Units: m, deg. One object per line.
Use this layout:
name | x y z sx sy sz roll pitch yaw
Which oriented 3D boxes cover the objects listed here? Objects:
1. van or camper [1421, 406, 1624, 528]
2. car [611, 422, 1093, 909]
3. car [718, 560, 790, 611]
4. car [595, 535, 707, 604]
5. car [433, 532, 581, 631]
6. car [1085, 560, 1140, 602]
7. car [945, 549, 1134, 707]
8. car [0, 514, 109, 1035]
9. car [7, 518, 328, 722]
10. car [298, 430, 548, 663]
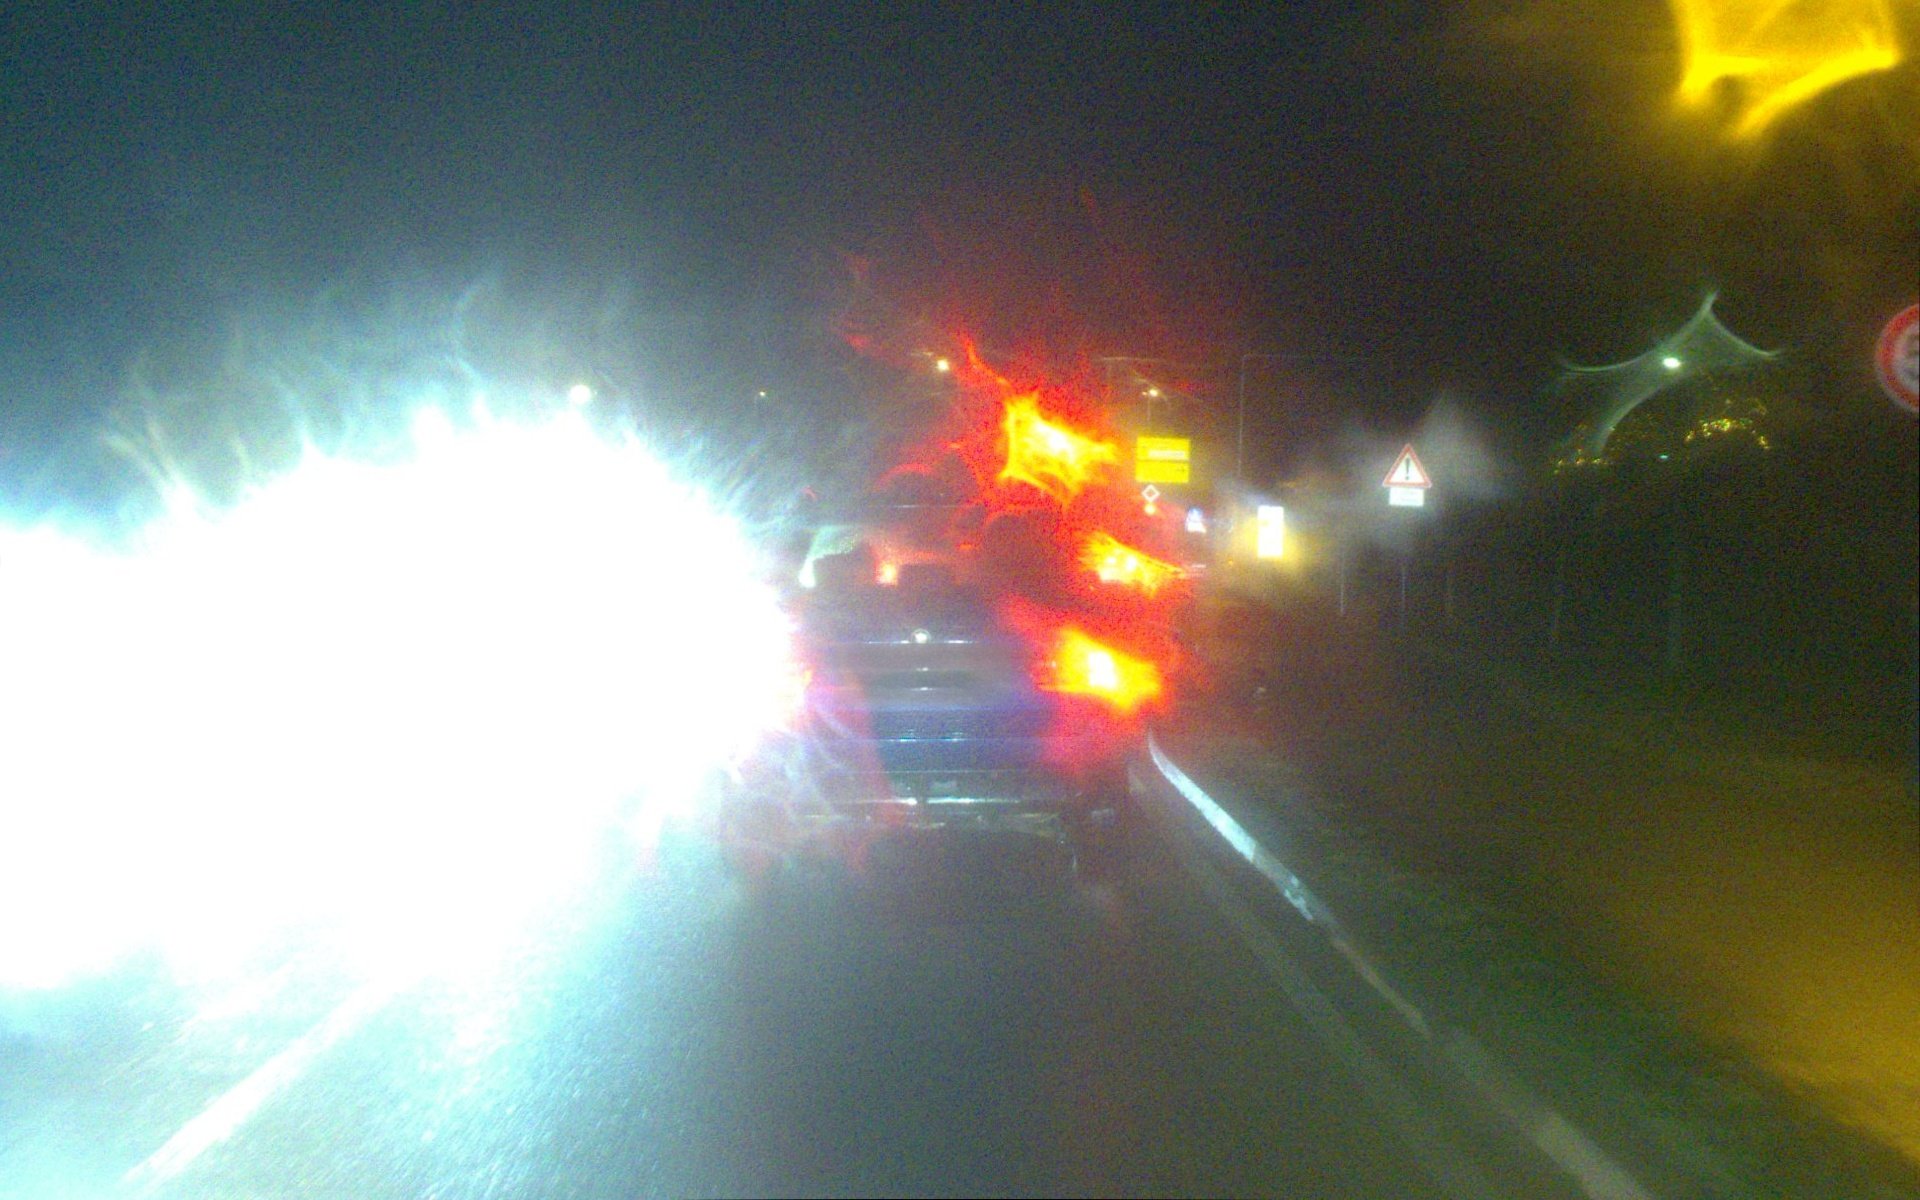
van or camper | 14.002 -3.273 86.135 2.579 2.898 6.361 0 1 -16
car | -0.471 0.226 16.113 1.942 1.965 4.218 1 1 -1
car | -6.101 -0.444 102.415 1.918 1.439 4.546 1 1 -1
car | -6.833 -0.706 76.415 2.077 1.444 4.992 1 1 -1
car | -7.287 -0.328 55.648 1.878 1.532 3.988 1 1 0
car | 5.312 -0.650 119.149 1.663 1.445 4.049 0 0 6
car | 0.842 0.228 34.506 1.768 1.445 4.218 1 1 3
car | -4.047 0.512 11.718 1.804 1.624 4.417 1 1 -8
car | -6.610 0.119 29.123 1.720 1.583 4.312 1 1 0
car | -6.671 -0.681 43.409 2.122 2.698 6.241 1 1 0
